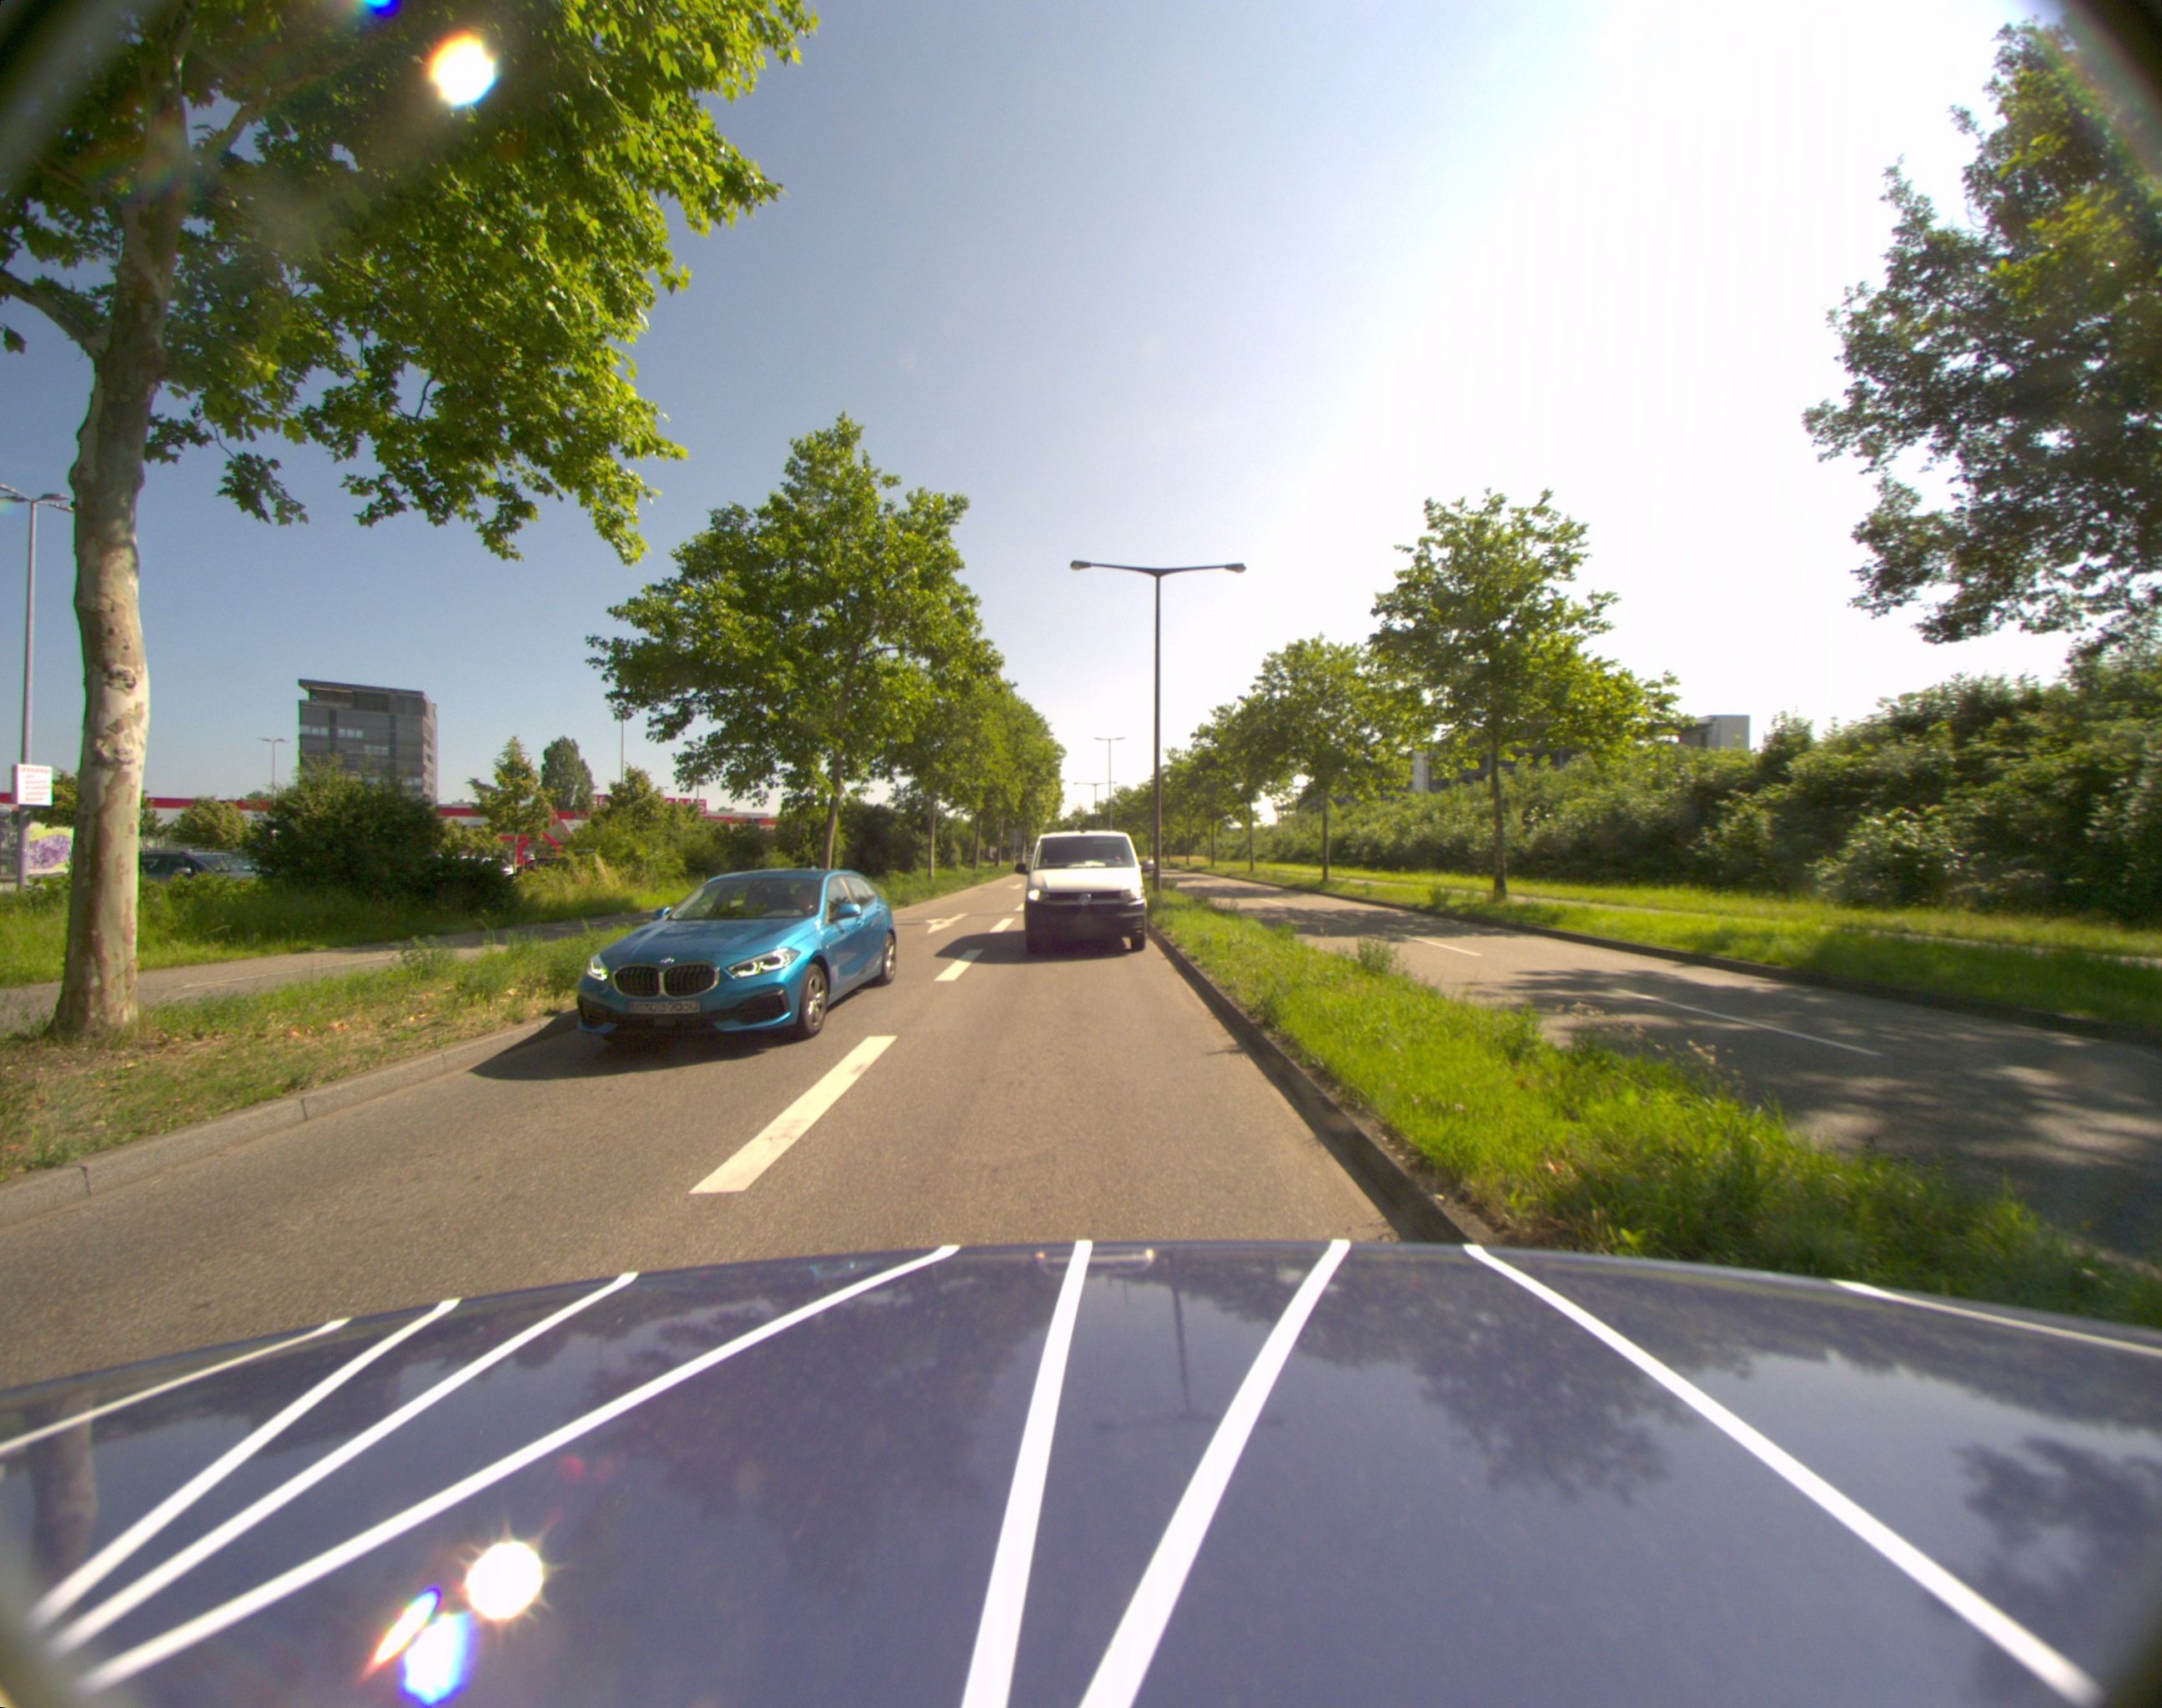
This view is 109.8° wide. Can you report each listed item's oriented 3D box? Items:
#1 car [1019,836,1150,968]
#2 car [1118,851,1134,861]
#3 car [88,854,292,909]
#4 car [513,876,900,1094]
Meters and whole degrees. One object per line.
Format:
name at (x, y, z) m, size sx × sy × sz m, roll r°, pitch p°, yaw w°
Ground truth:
car at (-0.006, 0.662, 13.361) m, size 1.872 × 1.889 × 4.880 m, roll 0°, pitch 1°, yaw -1°
car at (6.608, 0.258, 111.660) m, size 1.705 × 1.499 × 3.998 m, roll 0°, pitch 0°, yaw -6°
car at (-23.205, 0.684, 19.870) m, size 3.527 × 1.240 × 1.613 m, roll -2°, pitch 1°, yaw 3°
car at (-3.198, 1.005, 7.568) m, size 1.872 × 1.412 × 4.129 m, roll 0°, pitch 1°, yaw -2°
